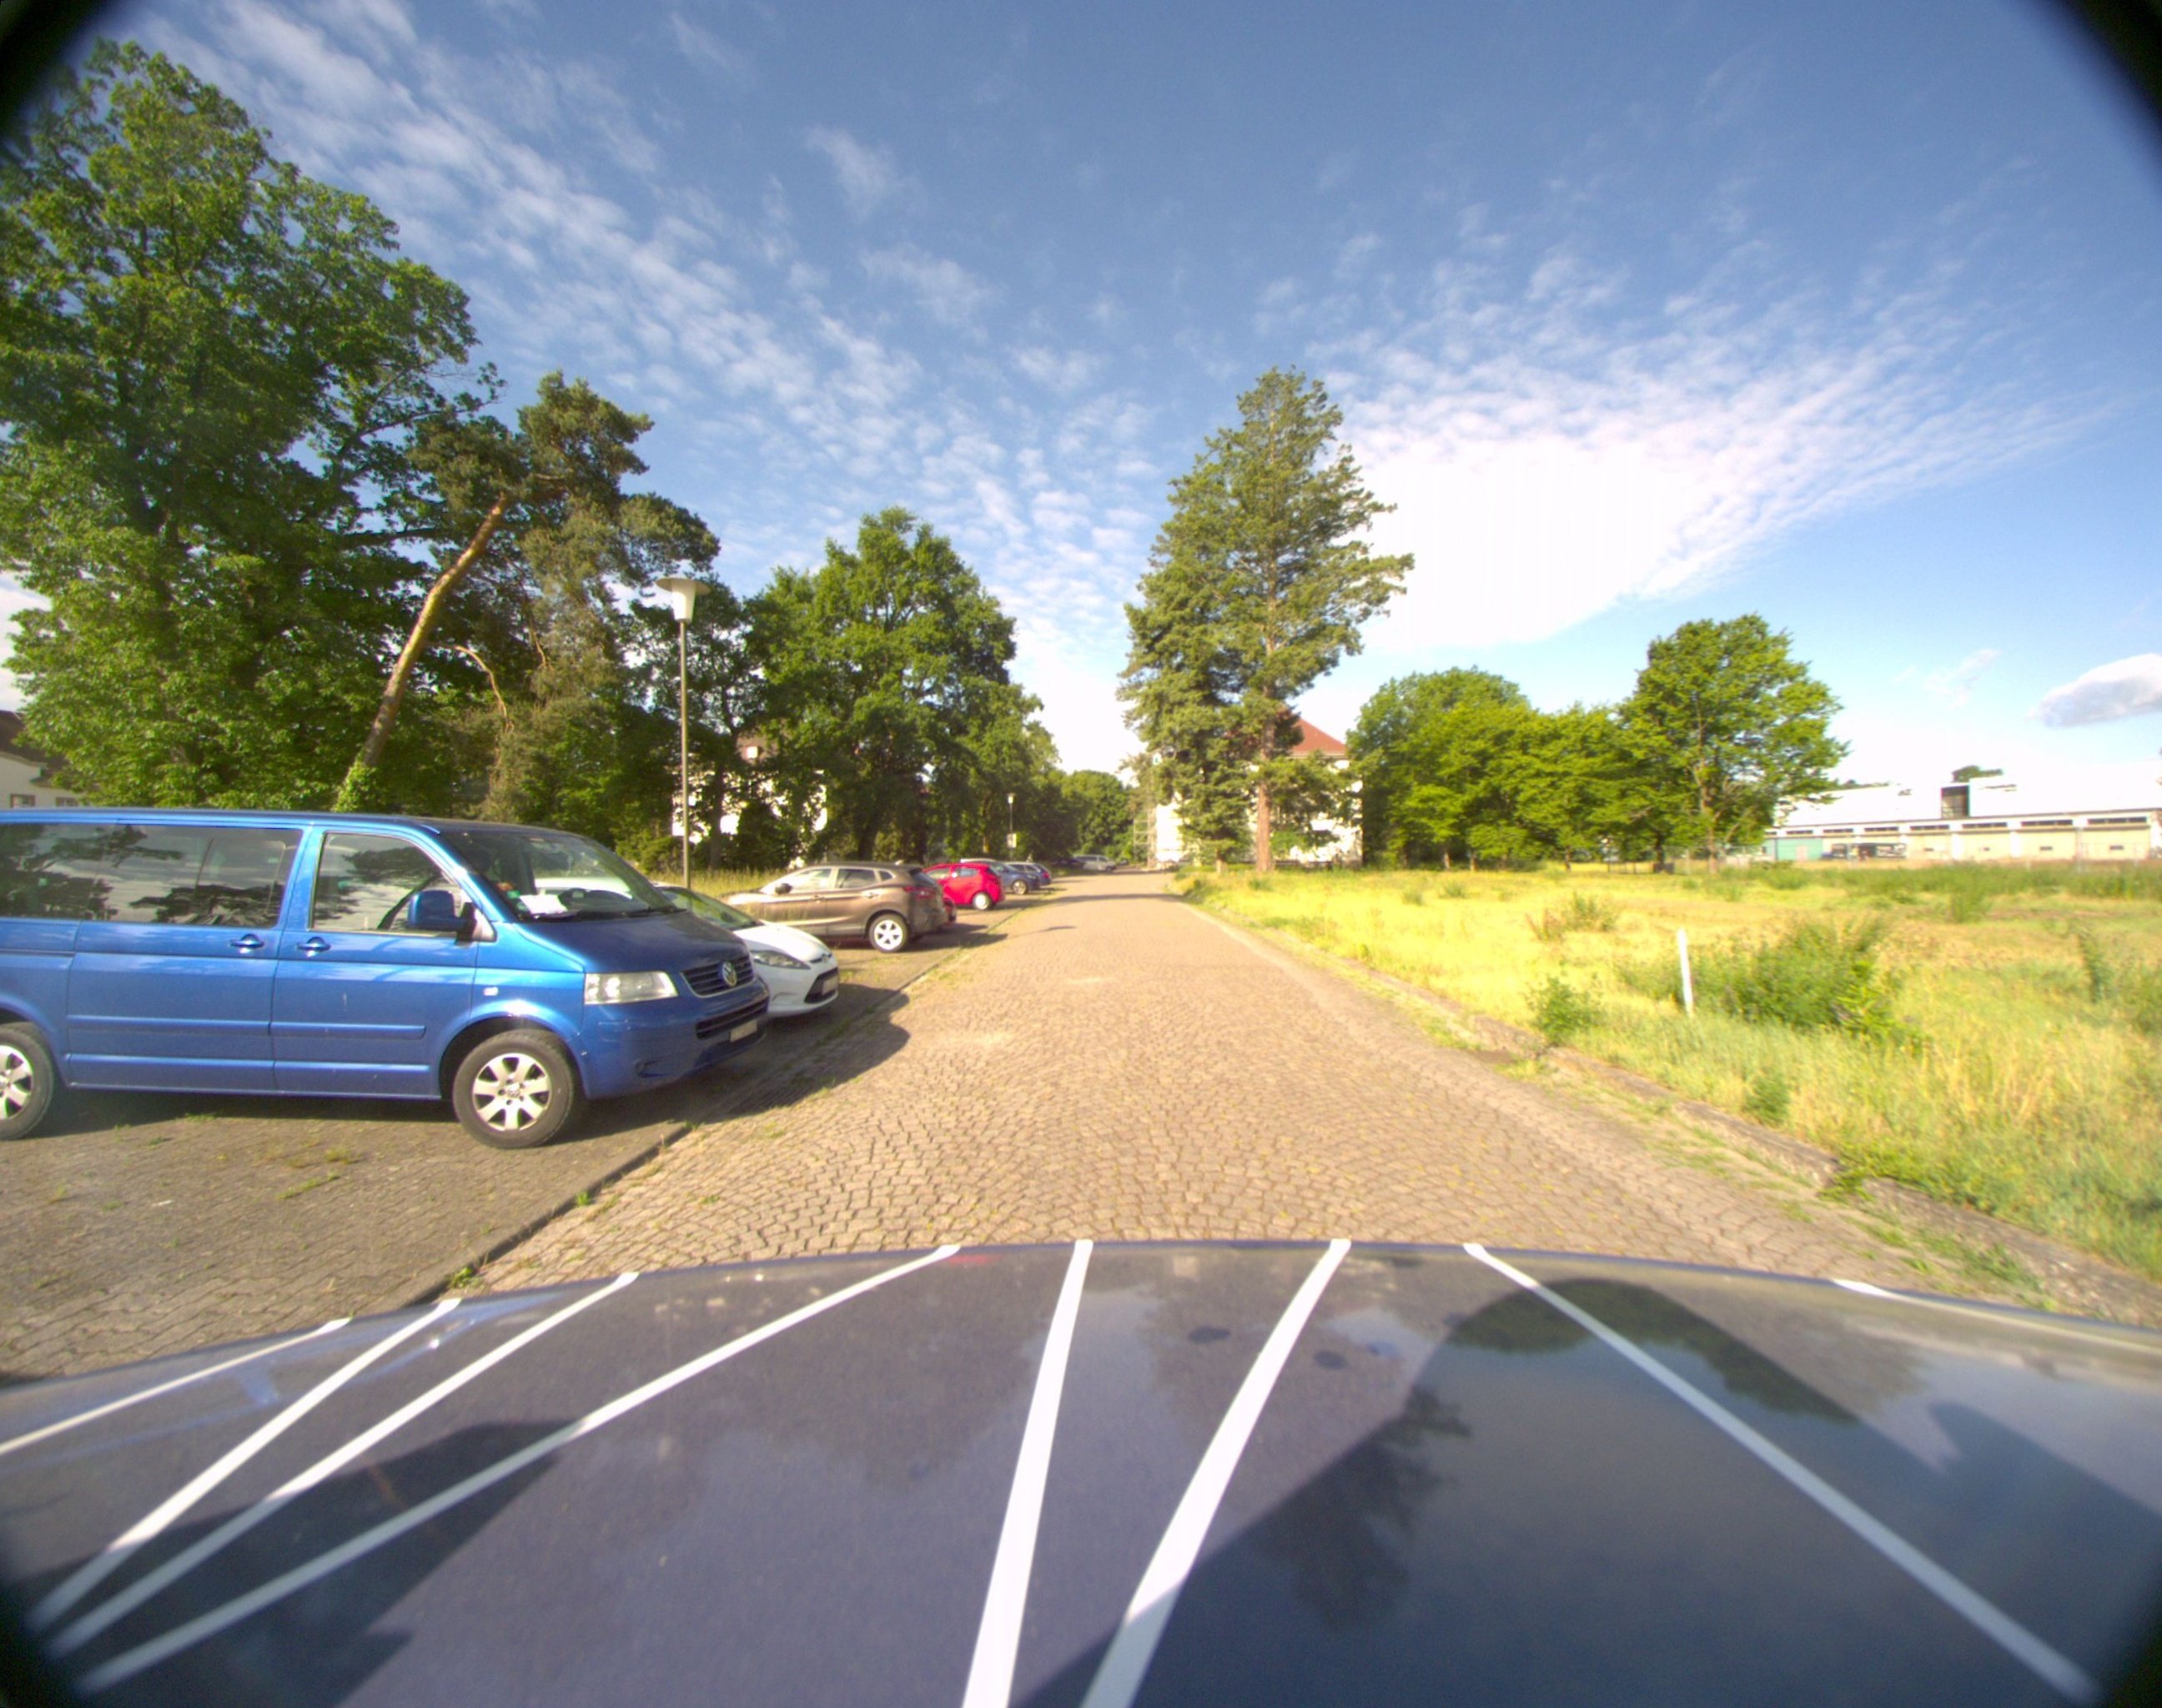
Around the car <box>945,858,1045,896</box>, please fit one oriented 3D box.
[{"bbox_3d":[-3.859,1.021,34.558,4.273,1.589,1.651,-1,0,1],"label":"car"}]

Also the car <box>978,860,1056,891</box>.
[{"bbox_3d":[-3.279,1.090,39.306,3.808,1.458,1.747,-1,0,3],"label":"car"}]

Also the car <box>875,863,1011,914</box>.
[{"bbox_3d":[-4.349,1.083,24.255,3.996,1.486,1.540,-1,0,1],"label":"car"}]

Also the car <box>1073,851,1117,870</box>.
[{"bbox_3d":[1.602,0.737,88.069,4.993,2.123,2.165,-1,0,0],"label":"car"}]

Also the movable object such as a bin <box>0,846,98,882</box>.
[{"bbox_3d":[-88.107,0.803,64.617,2.177,2.884,5.076,0,0,9],"label":"movable object such as a bin"}]

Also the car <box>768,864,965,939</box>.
[{"bbox_3d":[-4.635,1.008,16.795,3.834,1.530,1.703,0,0,2],"label":"car"}]

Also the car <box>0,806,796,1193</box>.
[{"bbox_3d":[-4.714,0.765,5.144,4.765,2.002,2.000,1,0,2],"label":"car"}]

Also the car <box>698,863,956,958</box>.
[{"bbox_3d":[-4.520,0.978,13.980,4.117,1.601,1.786,0,0,0],"label":"car"}]

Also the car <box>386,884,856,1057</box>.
[{"bbox_3d":[-4.374,1.081,7.644,3.729,1.458,1.610,1,0,0],"label":"car"}]
